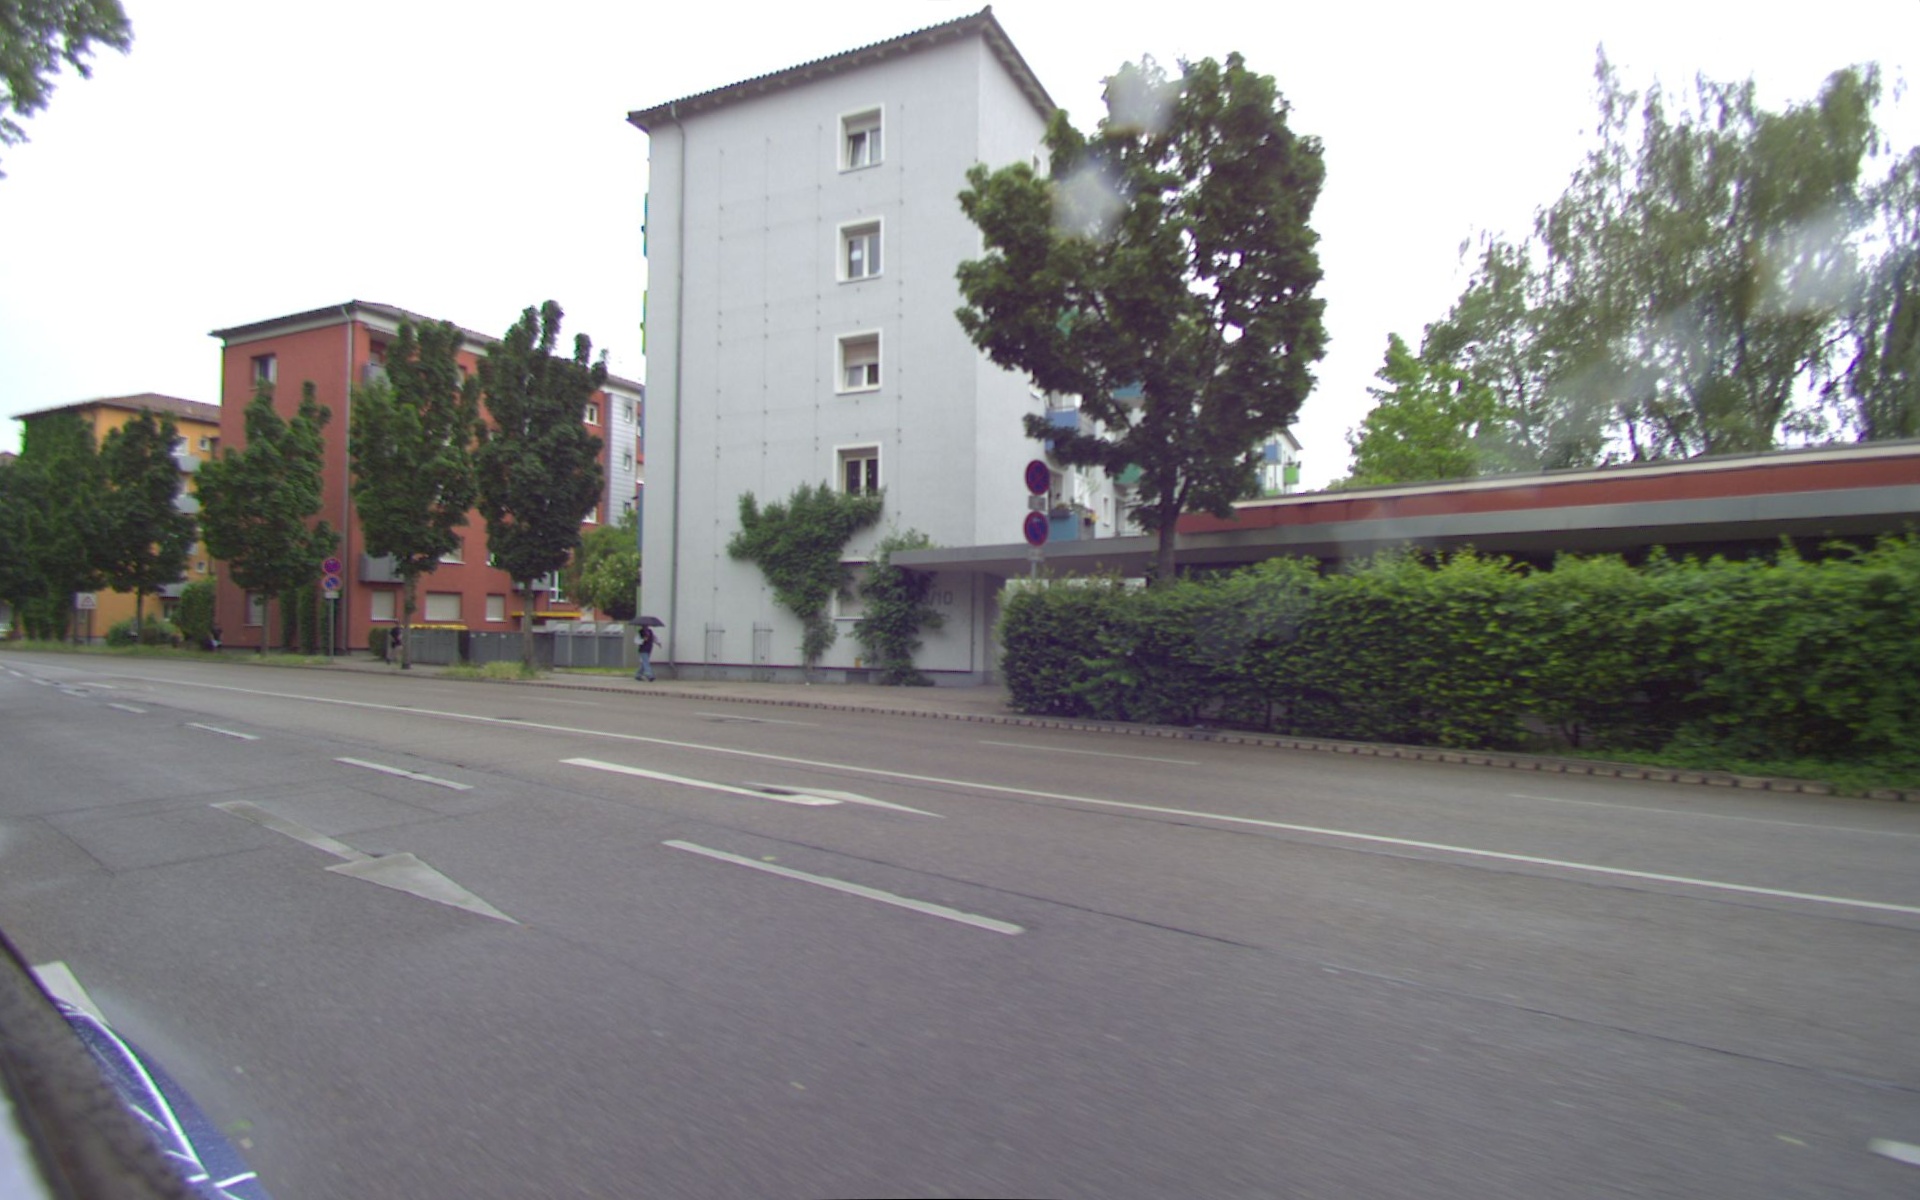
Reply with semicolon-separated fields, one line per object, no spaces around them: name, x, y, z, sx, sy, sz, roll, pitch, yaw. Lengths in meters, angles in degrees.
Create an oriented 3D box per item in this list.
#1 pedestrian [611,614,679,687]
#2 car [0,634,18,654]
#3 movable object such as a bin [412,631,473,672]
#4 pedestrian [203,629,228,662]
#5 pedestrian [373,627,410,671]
pedestrian;-8.119;1.304;26.096;1.261;1.818;1.123;-2;-3;38
car;-78.807;3.575;82.541;4.213;1.537;1.717;-1;-3;31
movable object such as a bin;-19.482;1.928;38.064;2.082;1.496;1.204;-2;-3;35
pedestrian;-34.153;2.085;46.426;0.833;1.460;0.666;-2;-3;32
pedestrian;-20.003;1.712;35.637;1.066;1.529;0.687;-2;-3;32
